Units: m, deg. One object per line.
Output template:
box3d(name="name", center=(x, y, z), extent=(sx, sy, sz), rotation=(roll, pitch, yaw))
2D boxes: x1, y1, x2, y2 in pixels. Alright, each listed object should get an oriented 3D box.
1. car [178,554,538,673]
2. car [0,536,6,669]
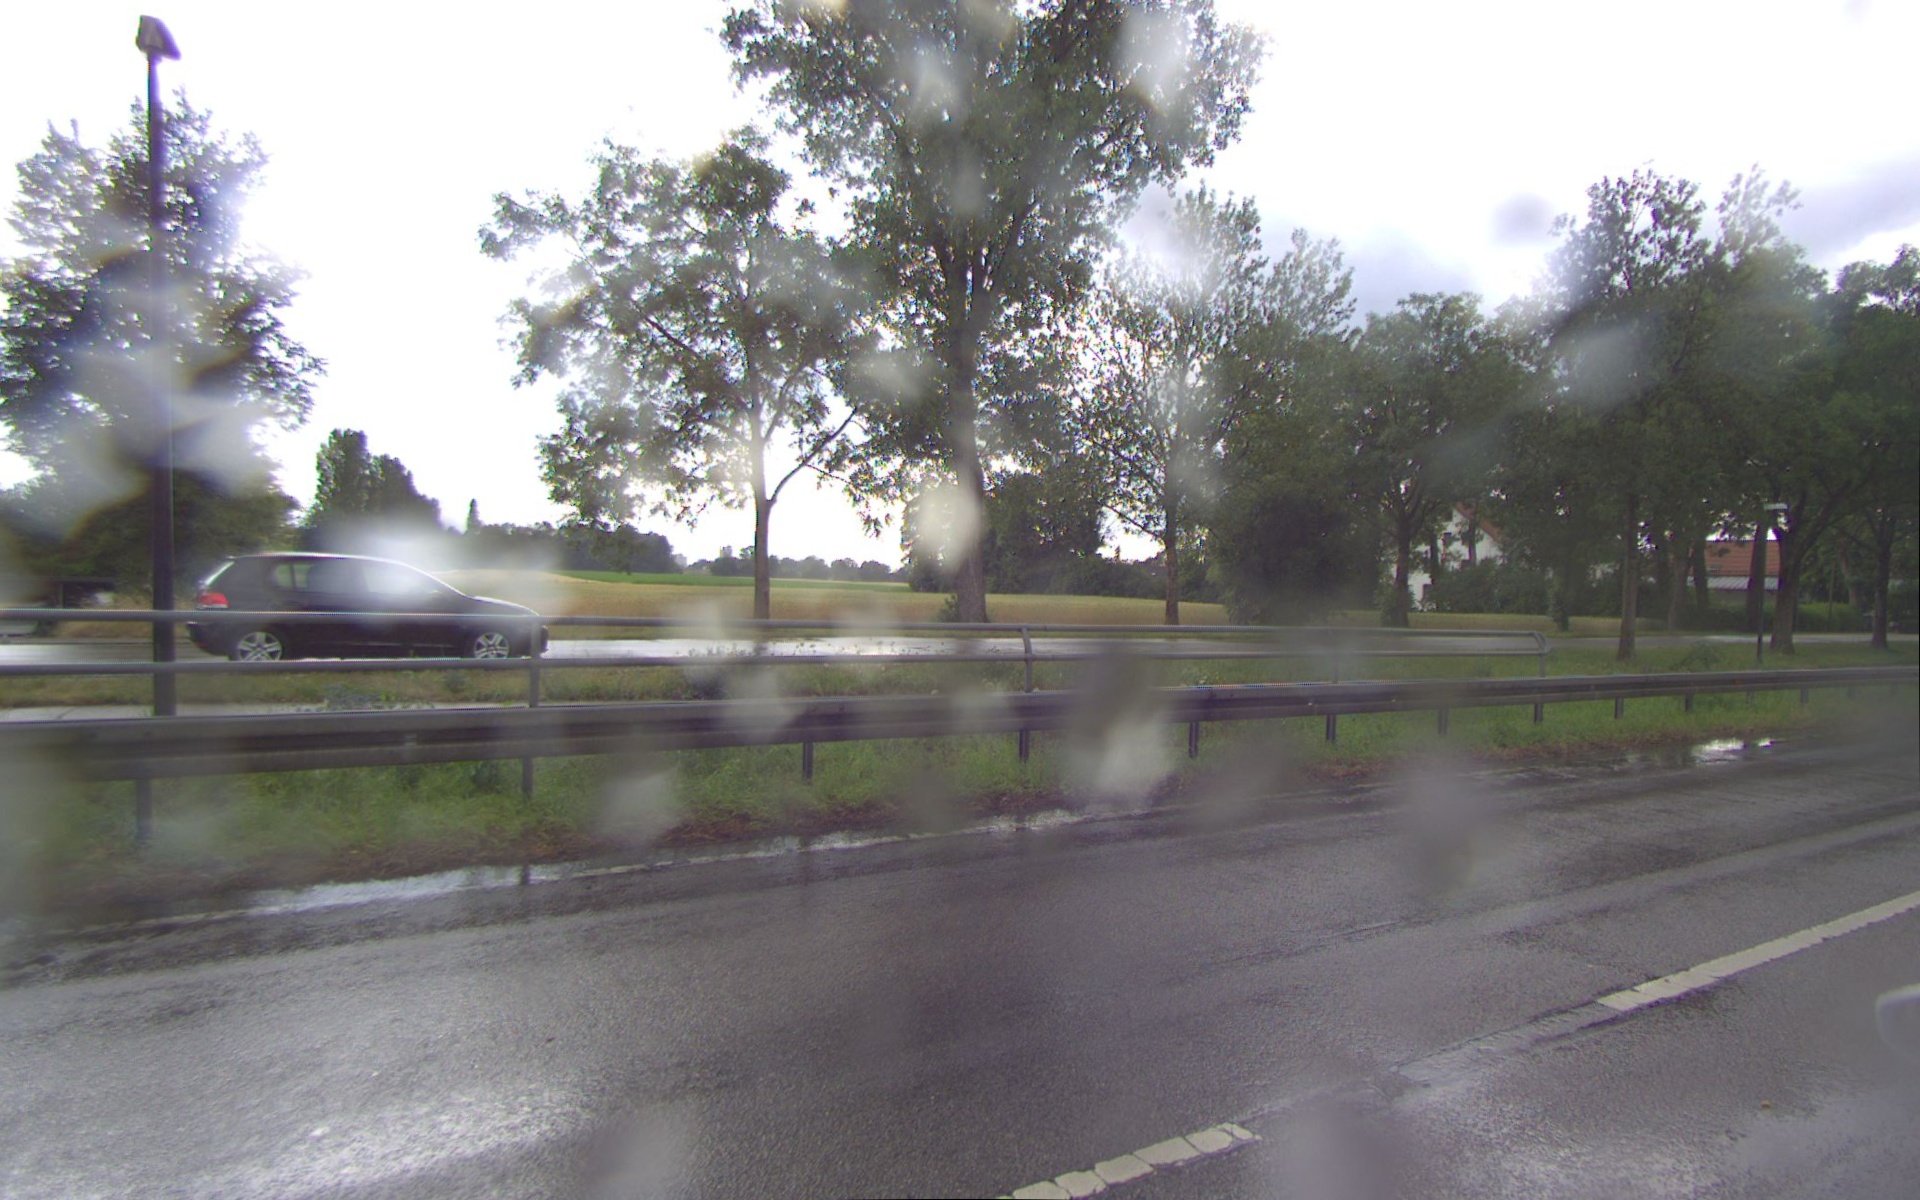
box3d(name="car", center=(-7.688, 0.182, 13.099), extent=(3.859, 1.348, 1.274), rotation=(1, 0, -35))
box3d(name="car", center=(-12.748, -0.007, 9.587), extent=(5.071, 1.511, 1.505), rotation=(1, 0, -35))
